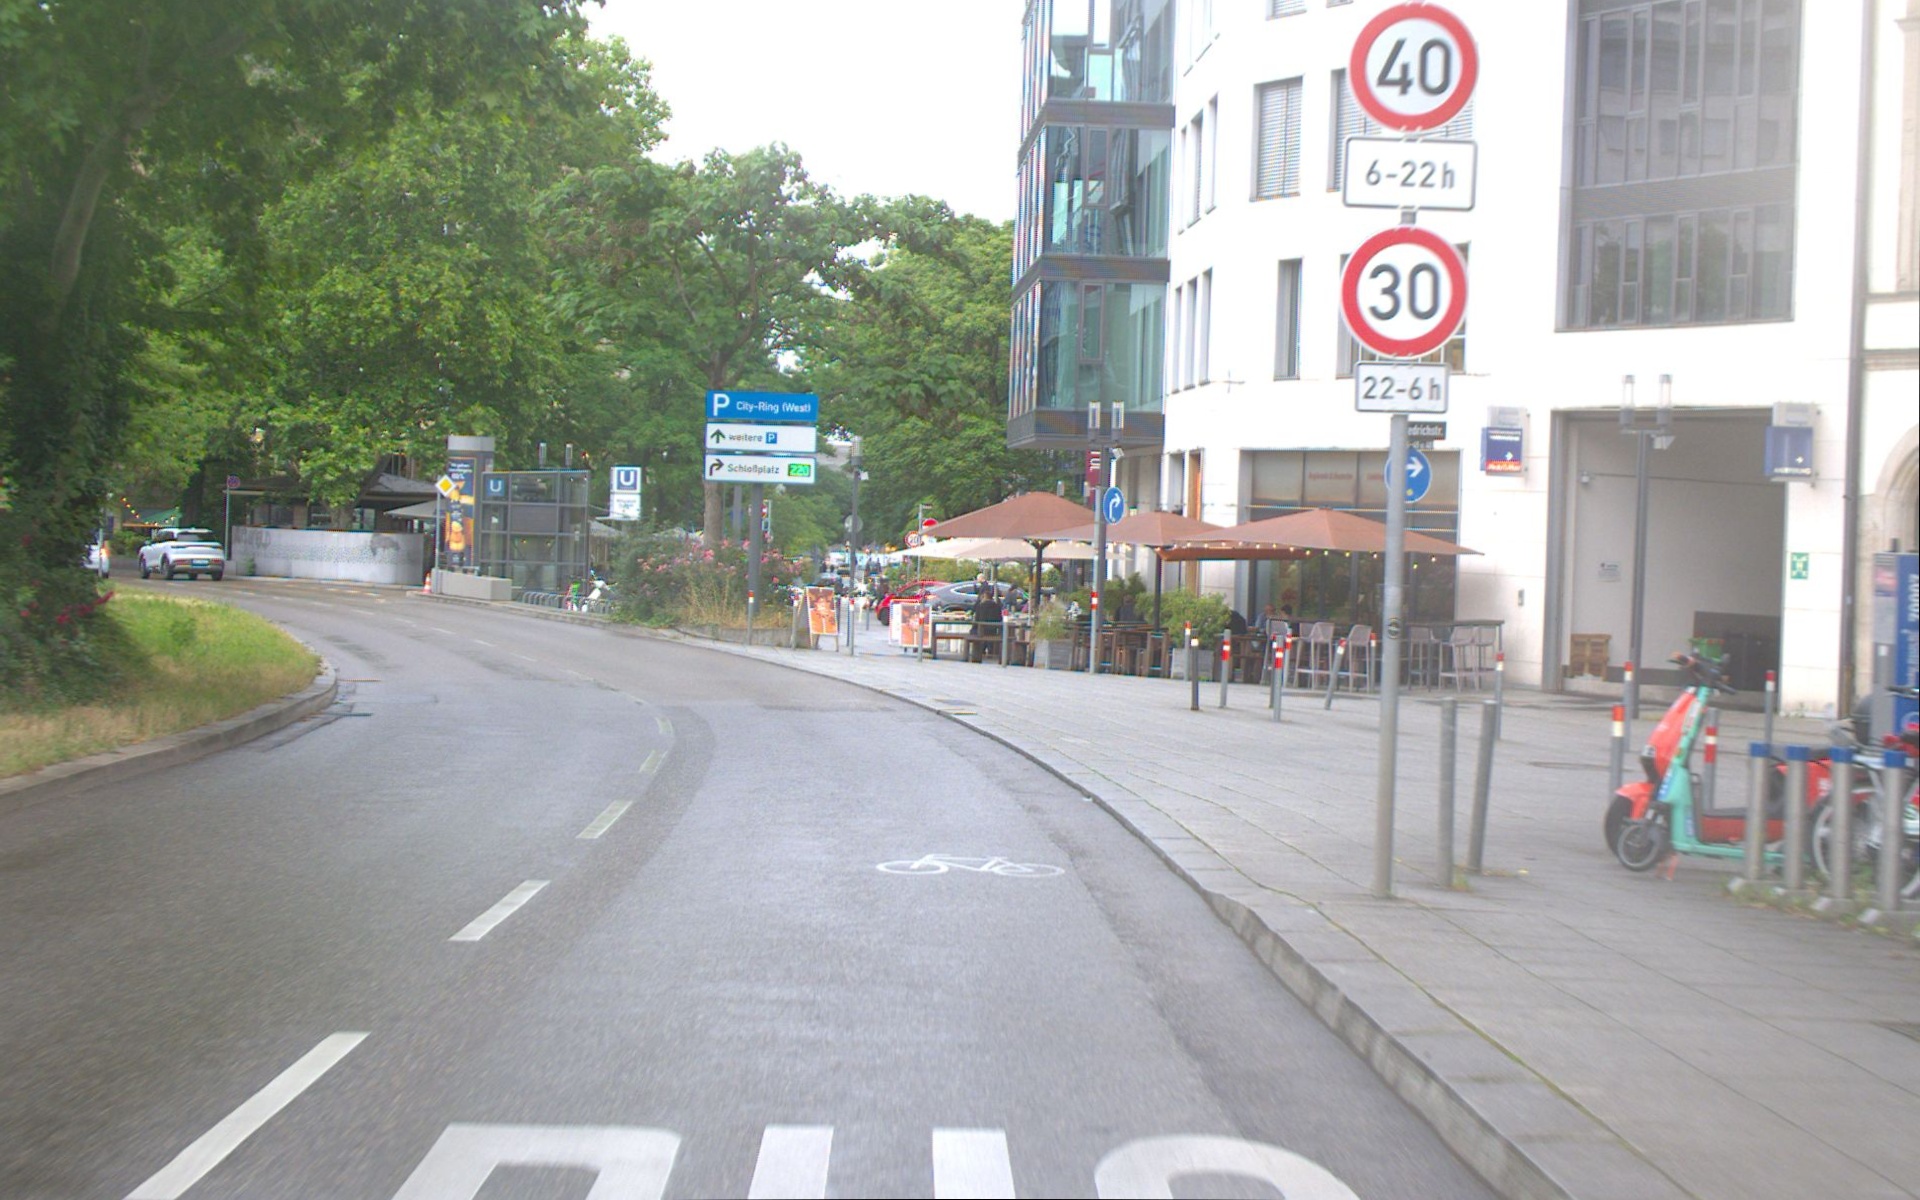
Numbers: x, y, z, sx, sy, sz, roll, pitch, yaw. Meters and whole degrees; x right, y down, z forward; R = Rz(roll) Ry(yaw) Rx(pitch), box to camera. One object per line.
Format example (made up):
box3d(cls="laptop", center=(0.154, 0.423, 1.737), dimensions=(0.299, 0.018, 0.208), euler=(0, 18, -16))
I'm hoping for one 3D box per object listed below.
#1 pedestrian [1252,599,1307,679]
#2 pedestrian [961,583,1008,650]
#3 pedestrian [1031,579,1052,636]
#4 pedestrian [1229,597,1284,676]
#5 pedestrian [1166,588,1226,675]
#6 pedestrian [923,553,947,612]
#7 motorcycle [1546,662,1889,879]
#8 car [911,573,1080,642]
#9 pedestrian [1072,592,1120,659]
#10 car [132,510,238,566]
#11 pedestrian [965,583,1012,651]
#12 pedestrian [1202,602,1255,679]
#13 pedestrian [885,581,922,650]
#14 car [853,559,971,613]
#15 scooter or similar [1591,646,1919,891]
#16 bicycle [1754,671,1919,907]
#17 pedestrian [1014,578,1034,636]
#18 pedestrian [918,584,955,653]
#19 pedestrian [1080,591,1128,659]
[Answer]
box3d(cls="pedestrian", center=(5.532, 0.675, 59.565), dimensions=(0.626, 1.322, 0.636), euler=(4, 0, -25))
box3d(cls="pedestrian", center=(0.505, 0.337, 71.144), dimensions=(0.817, 1.322, 0.636), euler=(4, 0, -5))
box3d(cls="pedestrian", center=(2.006, 0.182, 84.578), dimensions=(0.434, 1.399, 0.478), euler=(2, 0, -3))
box3d(cls="pedestrian", center=(5.210, 0.636, 60.369), dimensions=(0.626, 1.322, 0.636), euler=(4, 0, -25))
box3d(cls="pedestrian", center=(3.790, 0.503, 55.227), dimensions=(0.773, 1.322, 0.636), euler=(4, 0, -6))
box3d(cls="pedestrian", center=(-0.819, -0.575, 114.211), dimensions=(0.624, 1.926, 0.787), euler=(3, 0, 5))
box3d(cls="motorcycle", center=(4.388, 0.983, 19.958), dimensions=(1.791, 1.136, 0.596), euler=(3, -1, -6))
box3d(cls="car", center=(1.001, 0.199, 99.300), dimensions=(4.734, 1.685, 2.005), euler=(3, 1, -1))
box3d(cls="pedestrian", center=(2.815, 0.518, 71.259), dimensions=(0.817, 1.322, 0.636), euler=(4, 0, -5))
box3d(cls="car", center=(-24.693, -1.985, 109.414), dimensions=(1.947, 1.660, 4.345), euler=(2, 0, -31))
box3d(cls="pedestrian", center=(0.583, 0.337, 70.400), dimensions=(0.817, 1.322, 0.636), euler=(4, 0, -5))
box3d(cls="pedestrian", center=(4.809, 0.728, 61.633), dimensions=(0.626, 1.322, 0.636), euler=(4, 0, -25))
box3d(cls="pedestrian", center=(-1.121, 0.302, 68.420), dimensions=(0.606, 1.322, 0.567), euler=(4, 0, -5))
box3d(cls="car", center=(-1.505, -0.440, 107.287), dimensions=(1.610, 1.411, 3.527), euler=(4, 0, -45))
box3d(cls="scooter or similar", center=(4.479, 0.926, 18.978), dimensions=(1.791, 1.239, 0.596), euler=(3, -1, -6))
box3d(cls="bicycle", center=(4.952, 0.959, 17.070), dimensions=(1.794, 1.104, 0.670), euler=(3, -1, -6))
box3d(cls="pedestrian", center=(1.569, 0.172, 84.171), dimensions=(0.434, 1.399, 0.478), euler=(2, 0, -3))
box3d(cls="pedestrian", center=(-0.467, 0.368, 68.452), dimensions=(0.606, 1.322, 0.567), euler=(4, 0, -5))
box3d(cls="pedestrian", center=(2.944, 0.513, 70.347), dimensions=(0.817, 1.322, 0.636), euler=(4, 0, -5))
